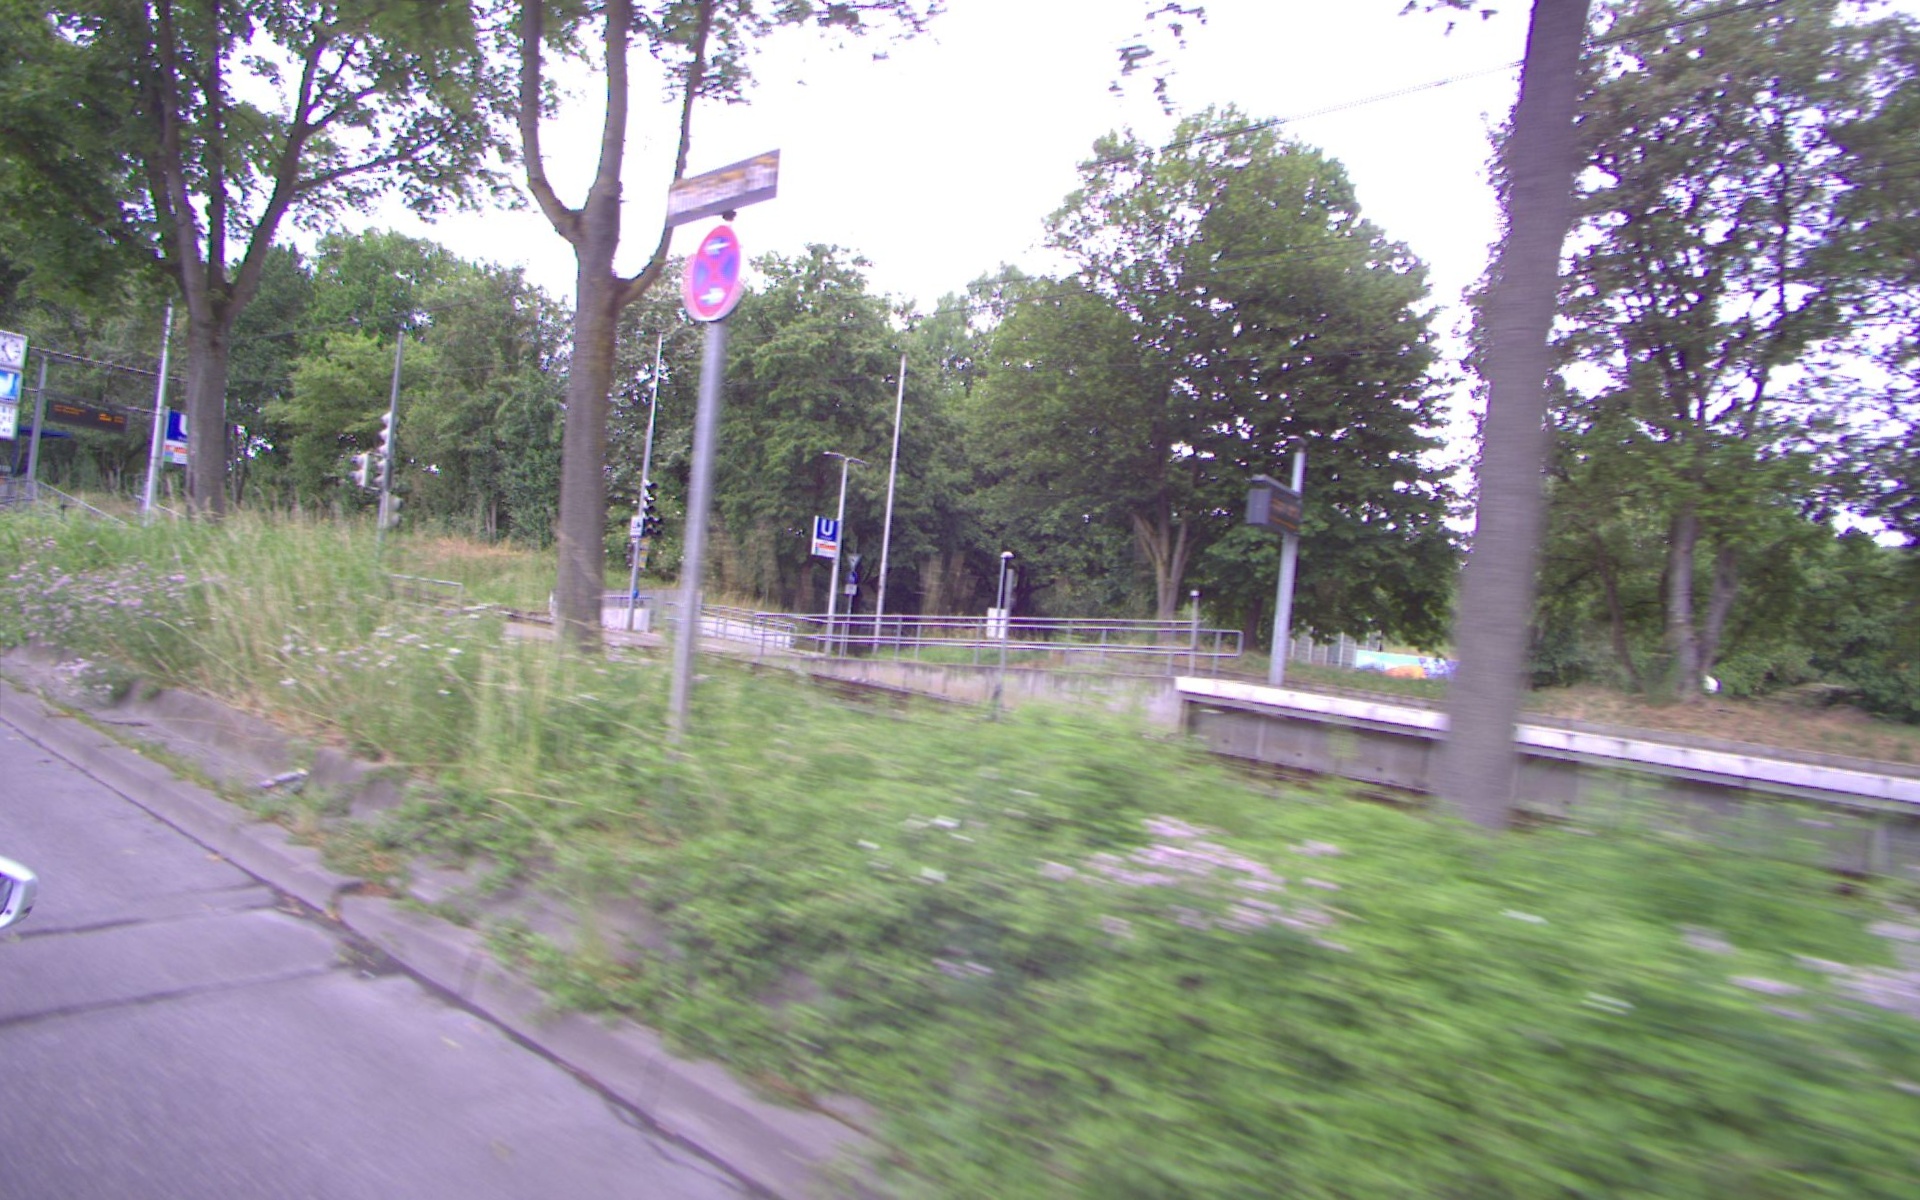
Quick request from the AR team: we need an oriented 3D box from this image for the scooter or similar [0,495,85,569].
[{"bbox_3d":[-18.060,-1.316,19.558,0.476,1.257,1.459,7,-1,15],"label":"scooter or similar"}]
